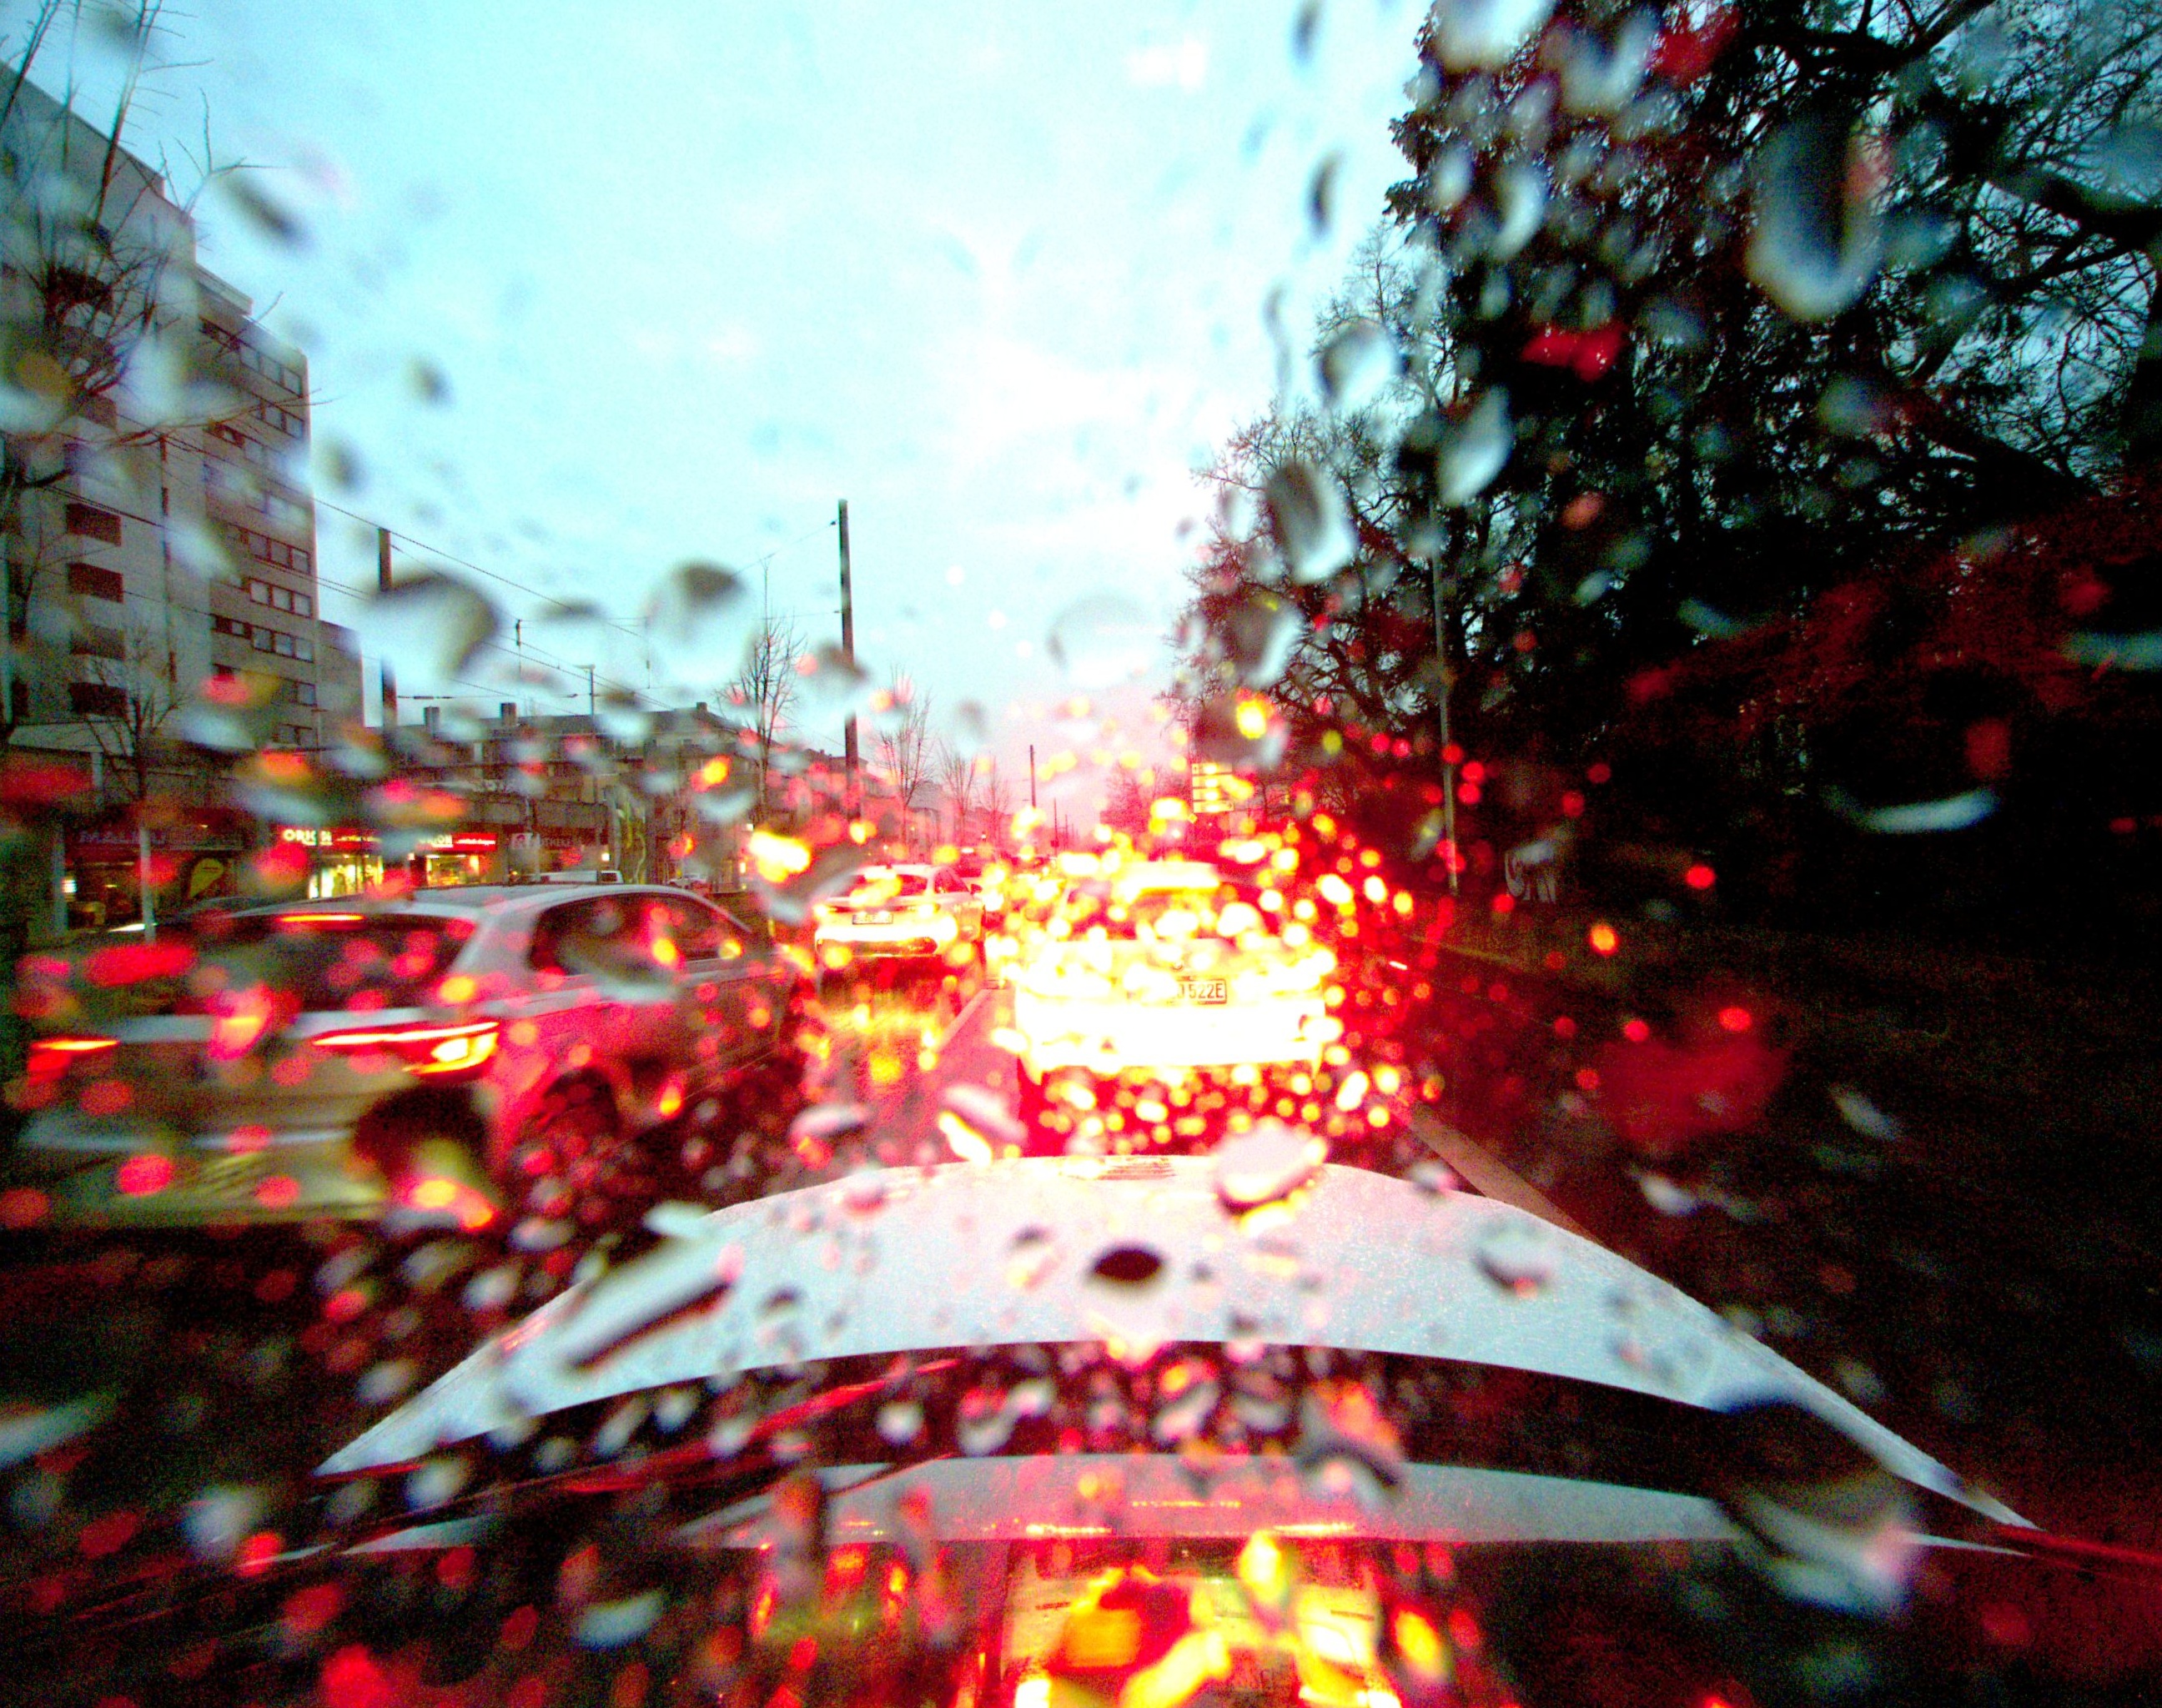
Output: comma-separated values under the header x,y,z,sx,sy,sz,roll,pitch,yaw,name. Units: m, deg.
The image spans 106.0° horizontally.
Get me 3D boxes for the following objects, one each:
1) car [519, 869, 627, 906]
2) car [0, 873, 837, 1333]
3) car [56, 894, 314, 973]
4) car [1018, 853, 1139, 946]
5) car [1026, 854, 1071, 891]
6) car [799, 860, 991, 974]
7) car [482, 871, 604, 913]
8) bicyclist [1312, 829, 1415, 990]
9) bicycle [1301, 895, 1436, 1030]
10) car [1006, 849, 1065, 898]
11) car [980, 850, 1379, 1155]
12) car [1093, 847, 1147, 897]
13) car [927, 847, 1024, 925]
x,y,z,sx,sy,sz,roll,pitch,yaw,name
-30.729,1.993,49.356,5.193,1.912,1.975,-3,0,-44,car
-2.897,0.849,4.610,1.756,1.371,3.981,-1,0,1,car
-24.255,2.073,22.371,1.889,1.634,4.582,-2,0,2,car
0.028,0.737,15.242,1.928,1.457,4.165,-1,0,2,car
-1.466,0.824,38.386,1.800,1.646,4.002,-1,0,2,car
-2.628,0.821,12.689,1.840,1.405,4.614,-1,0,1,car
-29.420,2.036,44.729,1.975,1.912,5.195,-3,0,27,car
2.589,0.485,7.558,0.642,1.389,0.891,-2,0,4,bicyclist
2.613,0.937,7.644,0.642,0.966,2.049,-2,0,4,bicycle
-1.596,0.669,30.015,1.800,1.646,4.002,-1,0,2,car
0.567,0.757,6.238,1.992,1.508,4.165,-1,0,2,car
1.388,0.614,29.412,1.800,1.646,4.002,-1,0,2,car
-2.533,0.727,20.640,1.787,1.736,4.537,-1,0,0,car
